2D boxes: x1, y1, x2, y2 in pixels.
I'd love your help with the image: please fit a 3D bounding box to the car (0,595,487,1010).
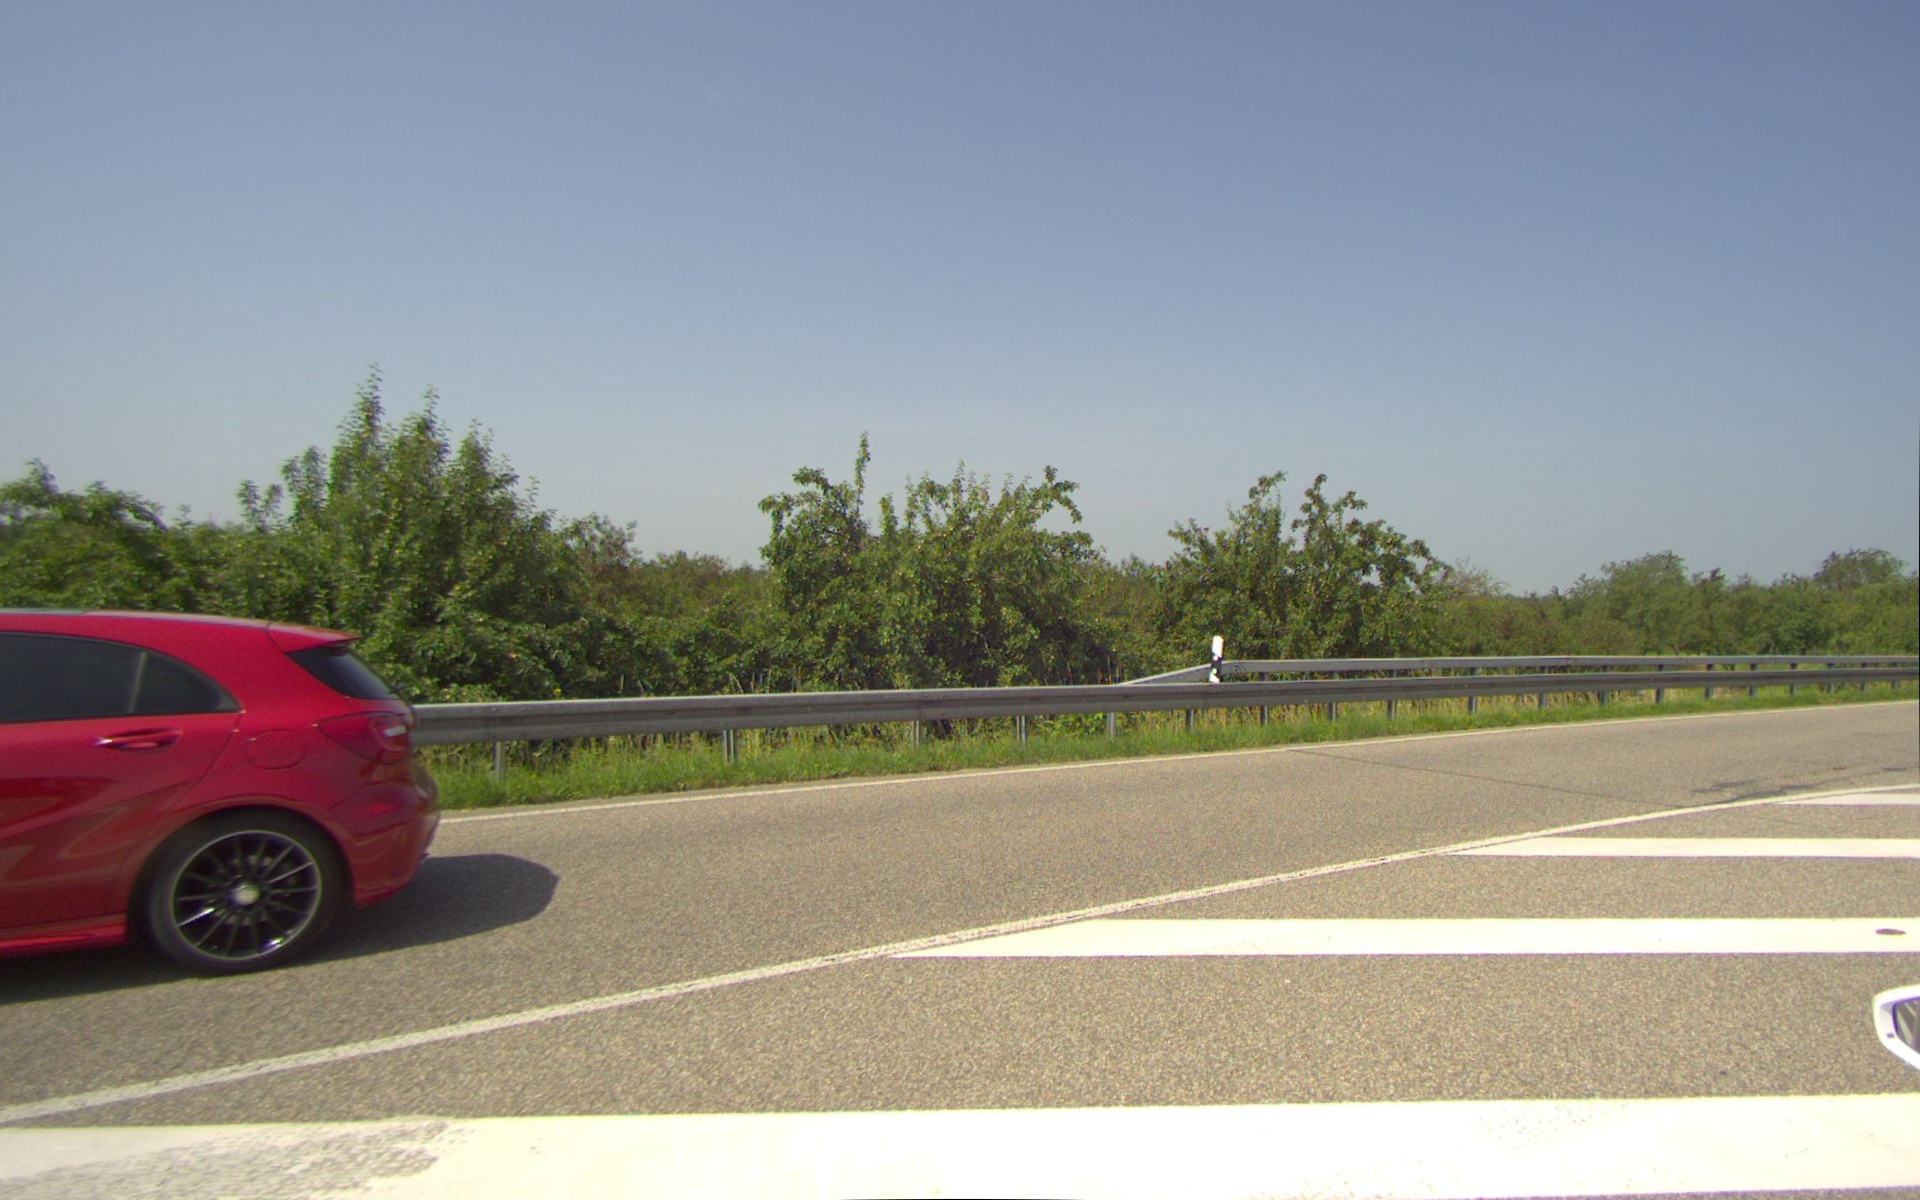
[{"bbox_3d":[-4.432,0.706,4.028,4.442,1.468,1.807,2,-1,-30],"label":"car"}]
